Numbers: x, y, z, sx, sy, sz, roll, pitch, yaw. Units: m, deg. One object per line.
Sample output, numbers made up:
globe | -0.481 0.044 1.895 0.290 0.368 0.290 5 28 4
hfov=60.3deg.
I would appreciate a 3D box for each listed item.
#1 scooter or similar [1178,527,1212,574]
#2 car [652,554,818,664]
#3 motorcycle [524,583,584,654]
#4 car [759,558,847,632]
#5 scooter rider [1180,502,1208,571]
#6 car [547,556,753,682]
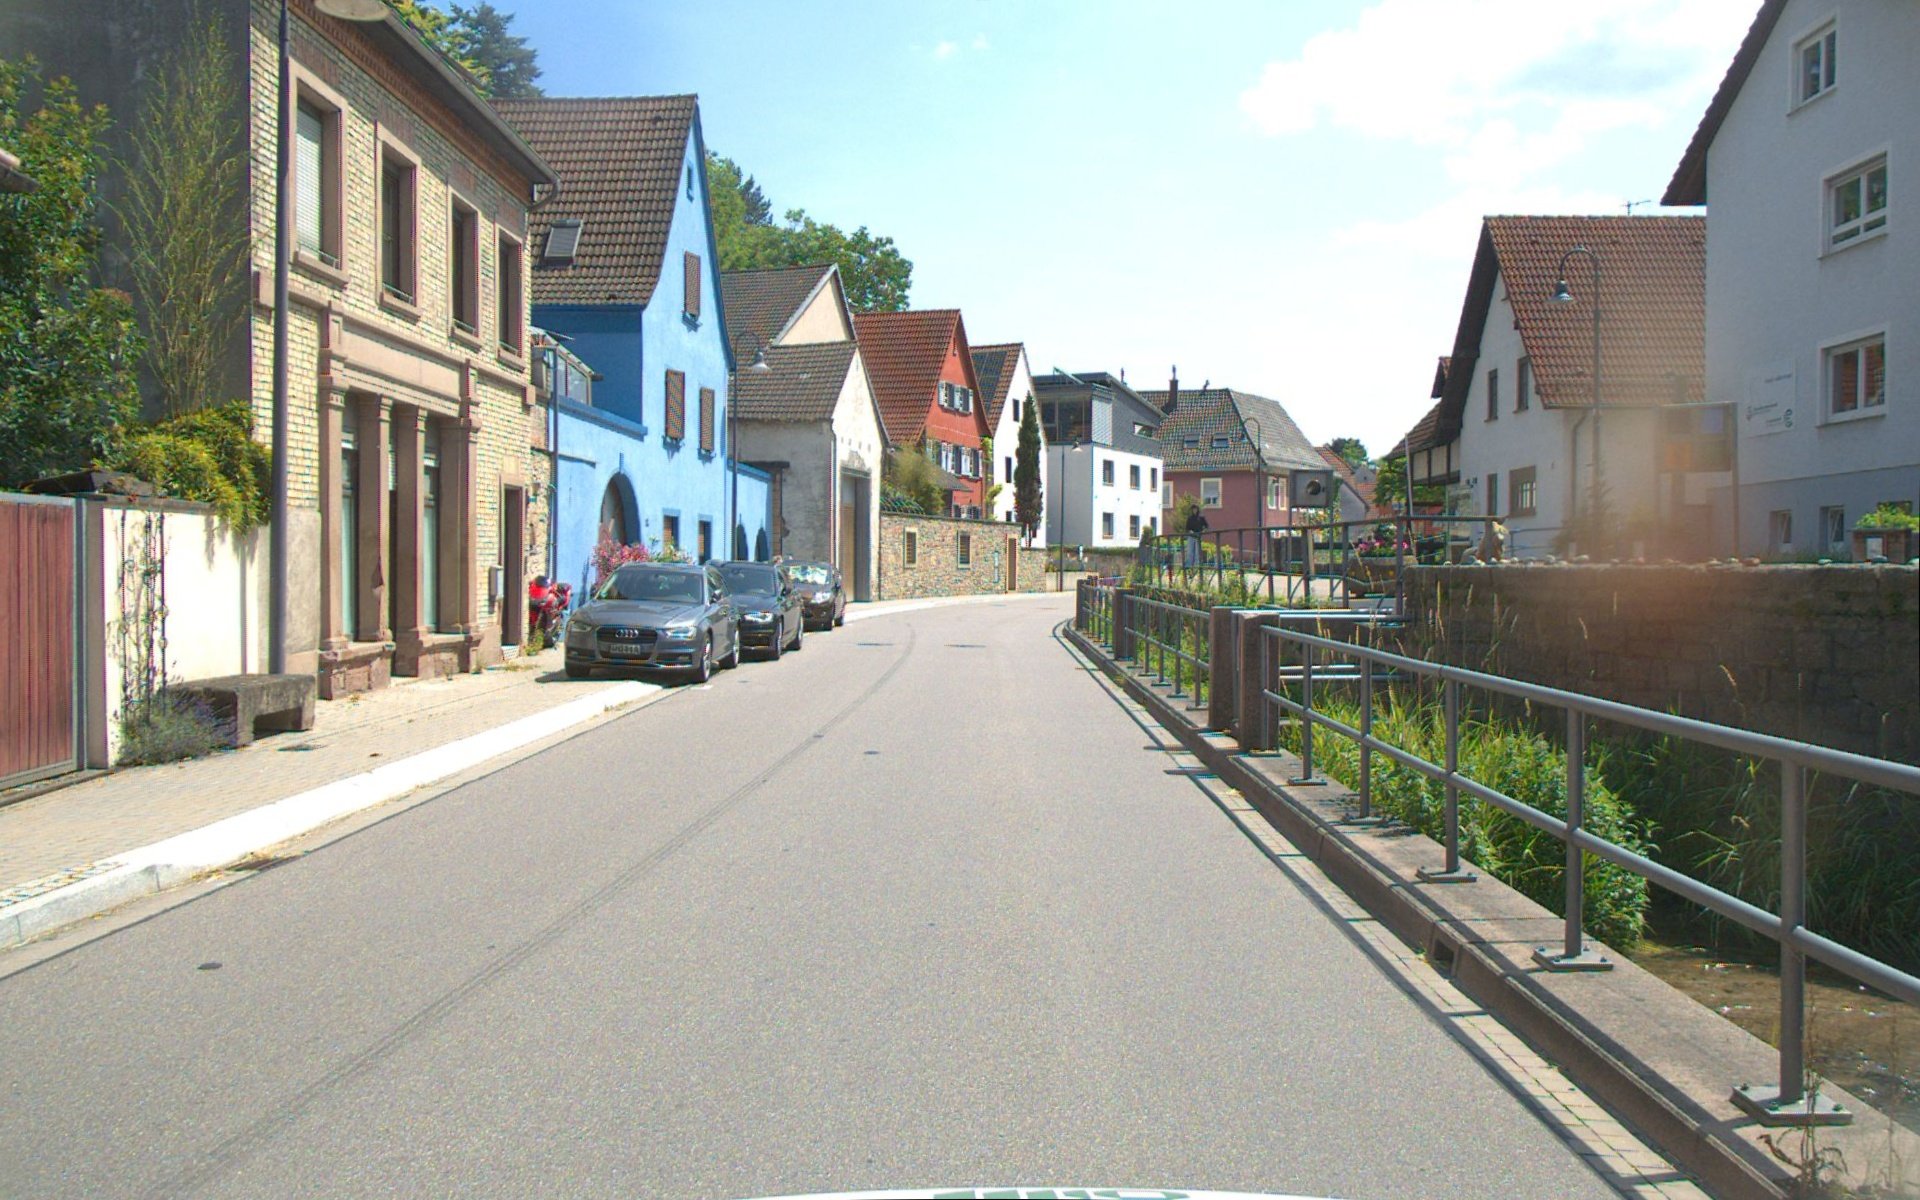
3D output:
scooter or similar | 6.076 -1.267 42.814 0.628 1.162 1.812 -1 1 1
car | -3.559 0.073 26.982 1.846 1.489 4.670 3 2 2
motorcycle | -6.276 0.271 25.638 0.409 1.018 1.858 4 1 -1
car | -3.500 -0.149 37.410 1.682 1.556 3.856 -1 1 -1
scooter rider | 6.070 -1.647 42.877 0.628 1.762 0.554 1 1 1
car | -4.009 0.204 22.173 1.917 1.491 4.545 1 1 0
